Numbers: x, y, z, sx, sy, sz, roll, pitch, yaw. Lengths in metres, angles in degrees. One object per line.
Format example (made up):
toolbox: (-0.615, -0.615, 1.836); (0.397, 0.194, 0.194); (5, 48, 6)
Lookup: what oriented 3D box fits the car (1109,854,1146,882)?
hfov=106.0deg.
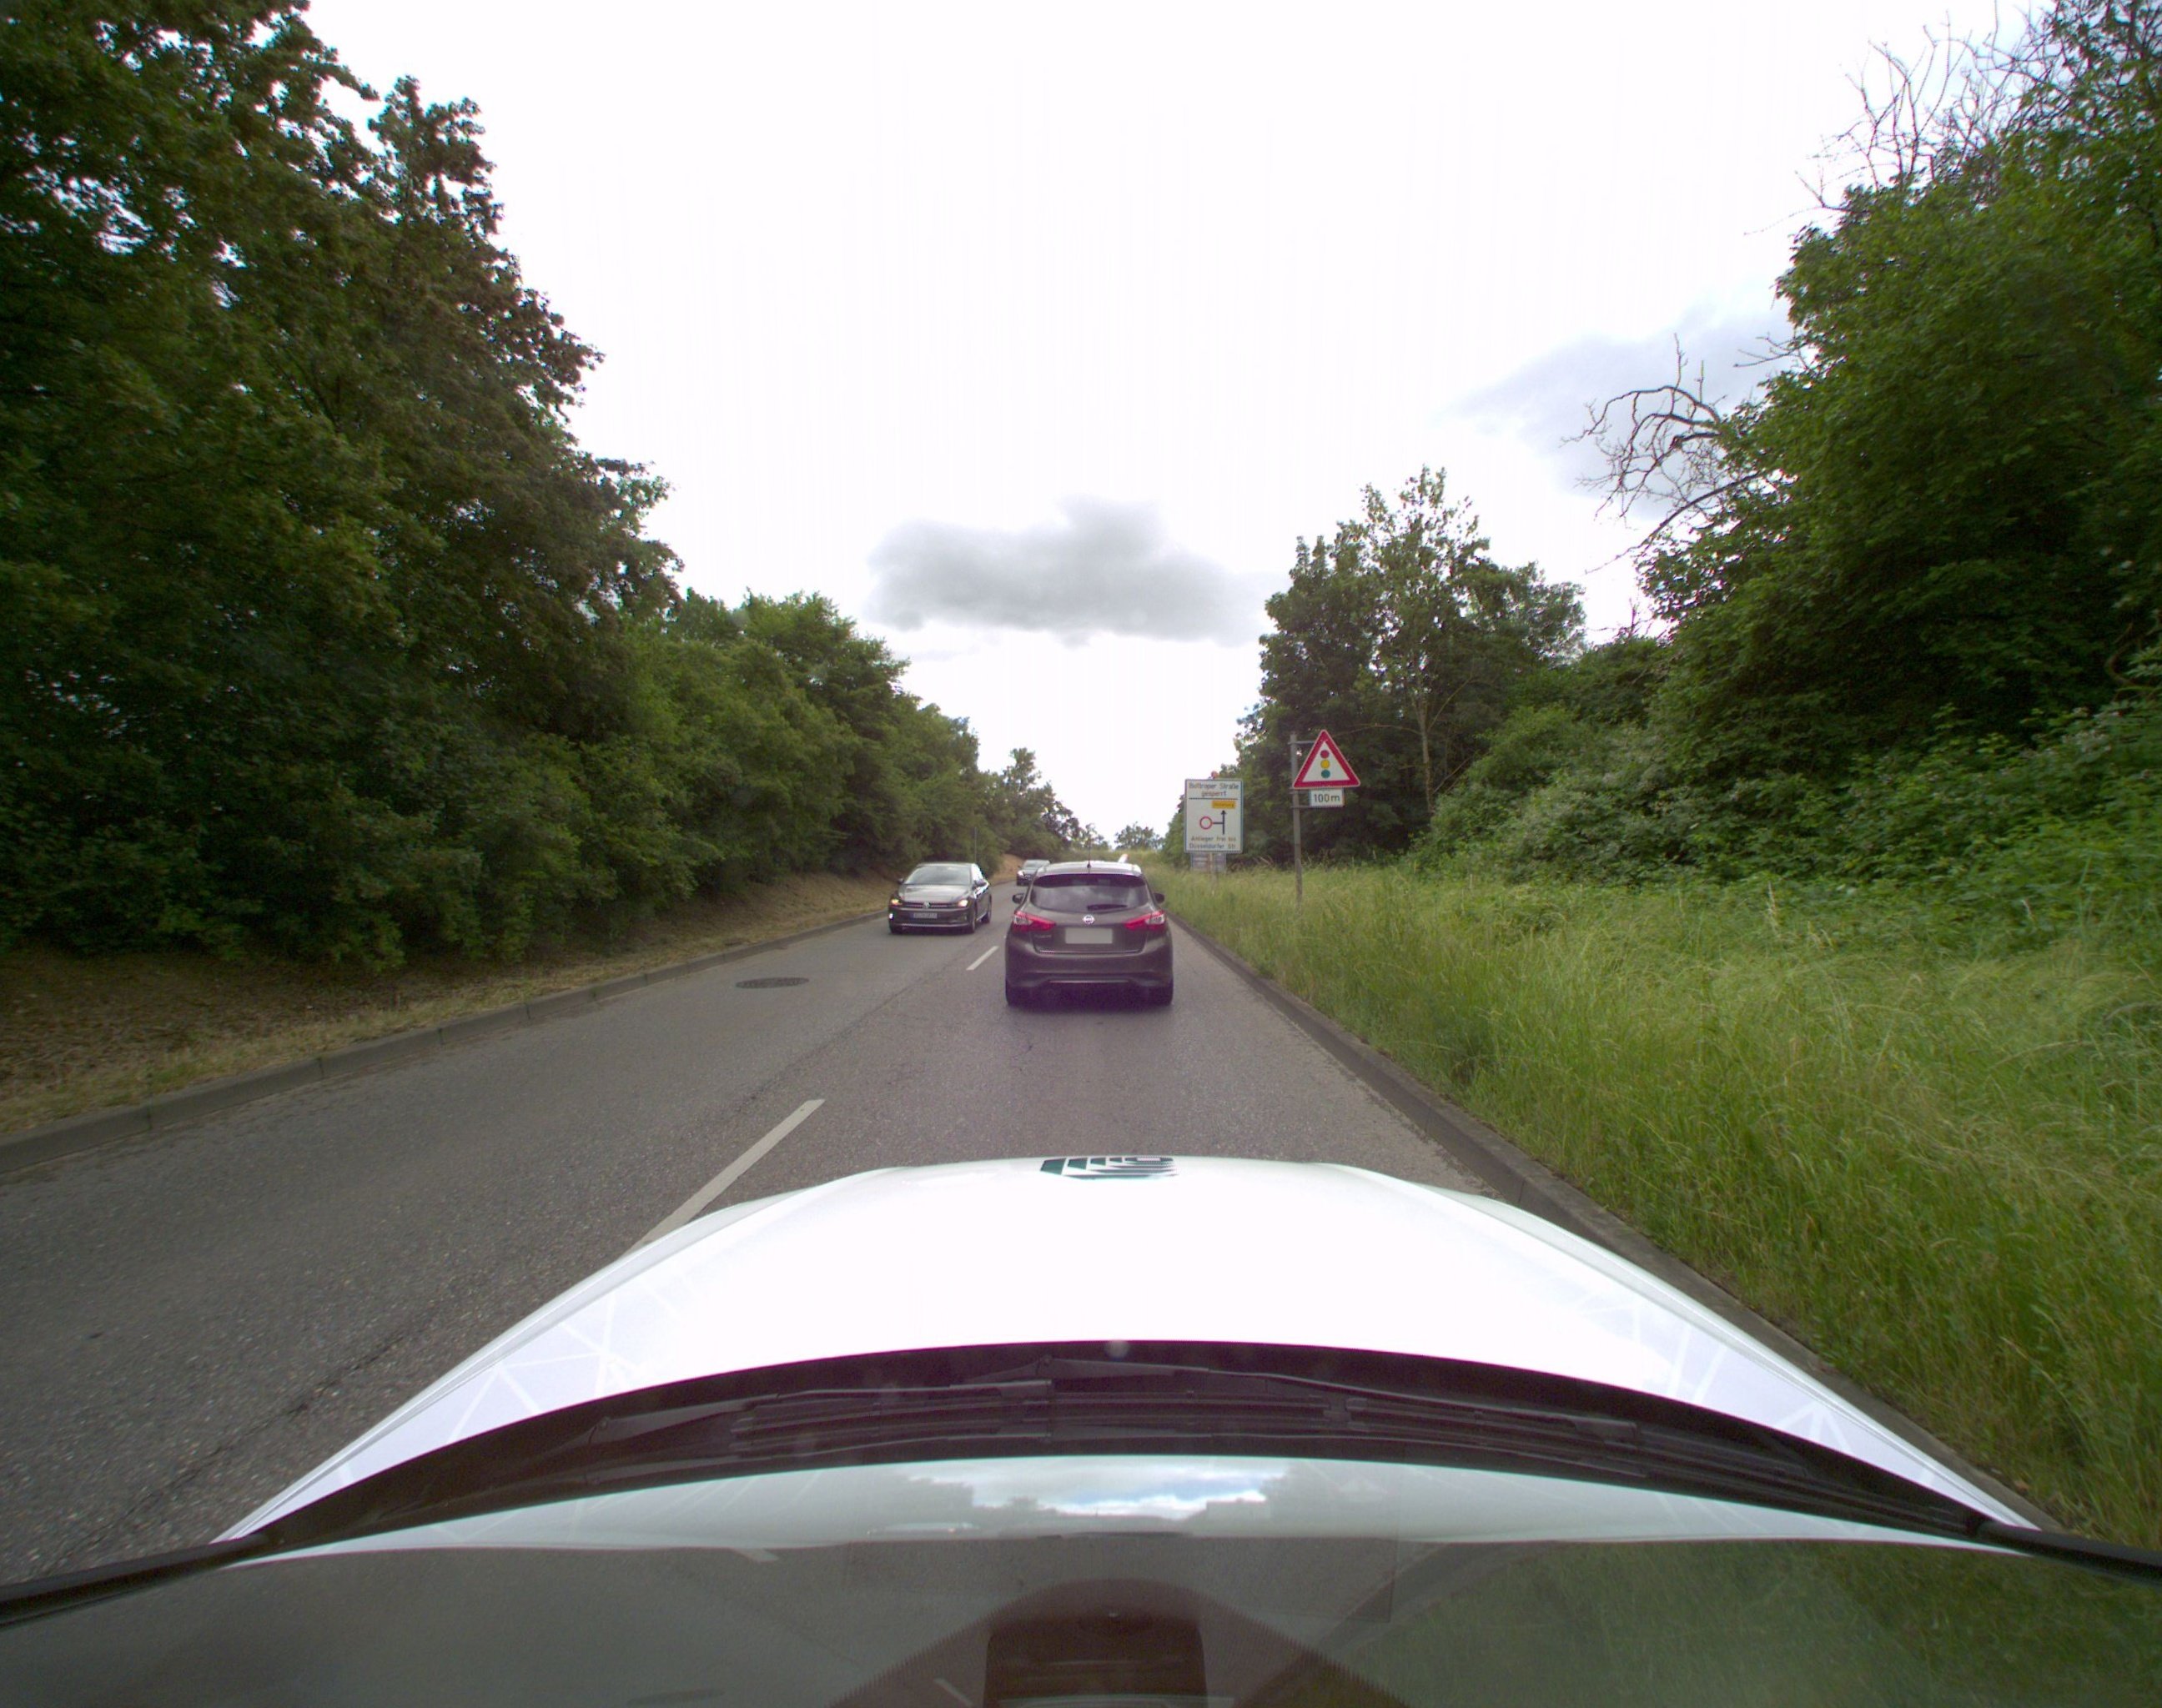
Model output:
car: (3.448, 1.027, 59.977); (1.721, 1.935, 3.561); (-2, 0, 19)

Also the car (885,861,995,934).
car: (-2.960, 0.867, 17.813); (1.636, 1.400, 3.822); (-1, 0, 1)

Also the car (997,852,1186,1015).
car: (0.107, 0.786, 9.723); (1.824, 1.556, 3.498); (-1, 0, 0)

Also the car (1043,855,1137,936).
car: (0.248, 0.822, 17.945); (1.823, 1.556, 3.626); (-2, 0, 2)

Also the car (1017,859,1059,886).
car: (-2.384, 1.005, 45.739); (1.633, 1.400, 3.829); (2, 0, 7)

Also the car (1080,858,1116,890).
car: (0.920, 1.031, 42.686); (1.729, 1.556, 3.545); (-2, 0, 2)

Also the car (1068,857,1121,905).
car: (0.521, 0.919, 29.319); (1.729, 1.556, 3.545); (-2, 0, 2)
